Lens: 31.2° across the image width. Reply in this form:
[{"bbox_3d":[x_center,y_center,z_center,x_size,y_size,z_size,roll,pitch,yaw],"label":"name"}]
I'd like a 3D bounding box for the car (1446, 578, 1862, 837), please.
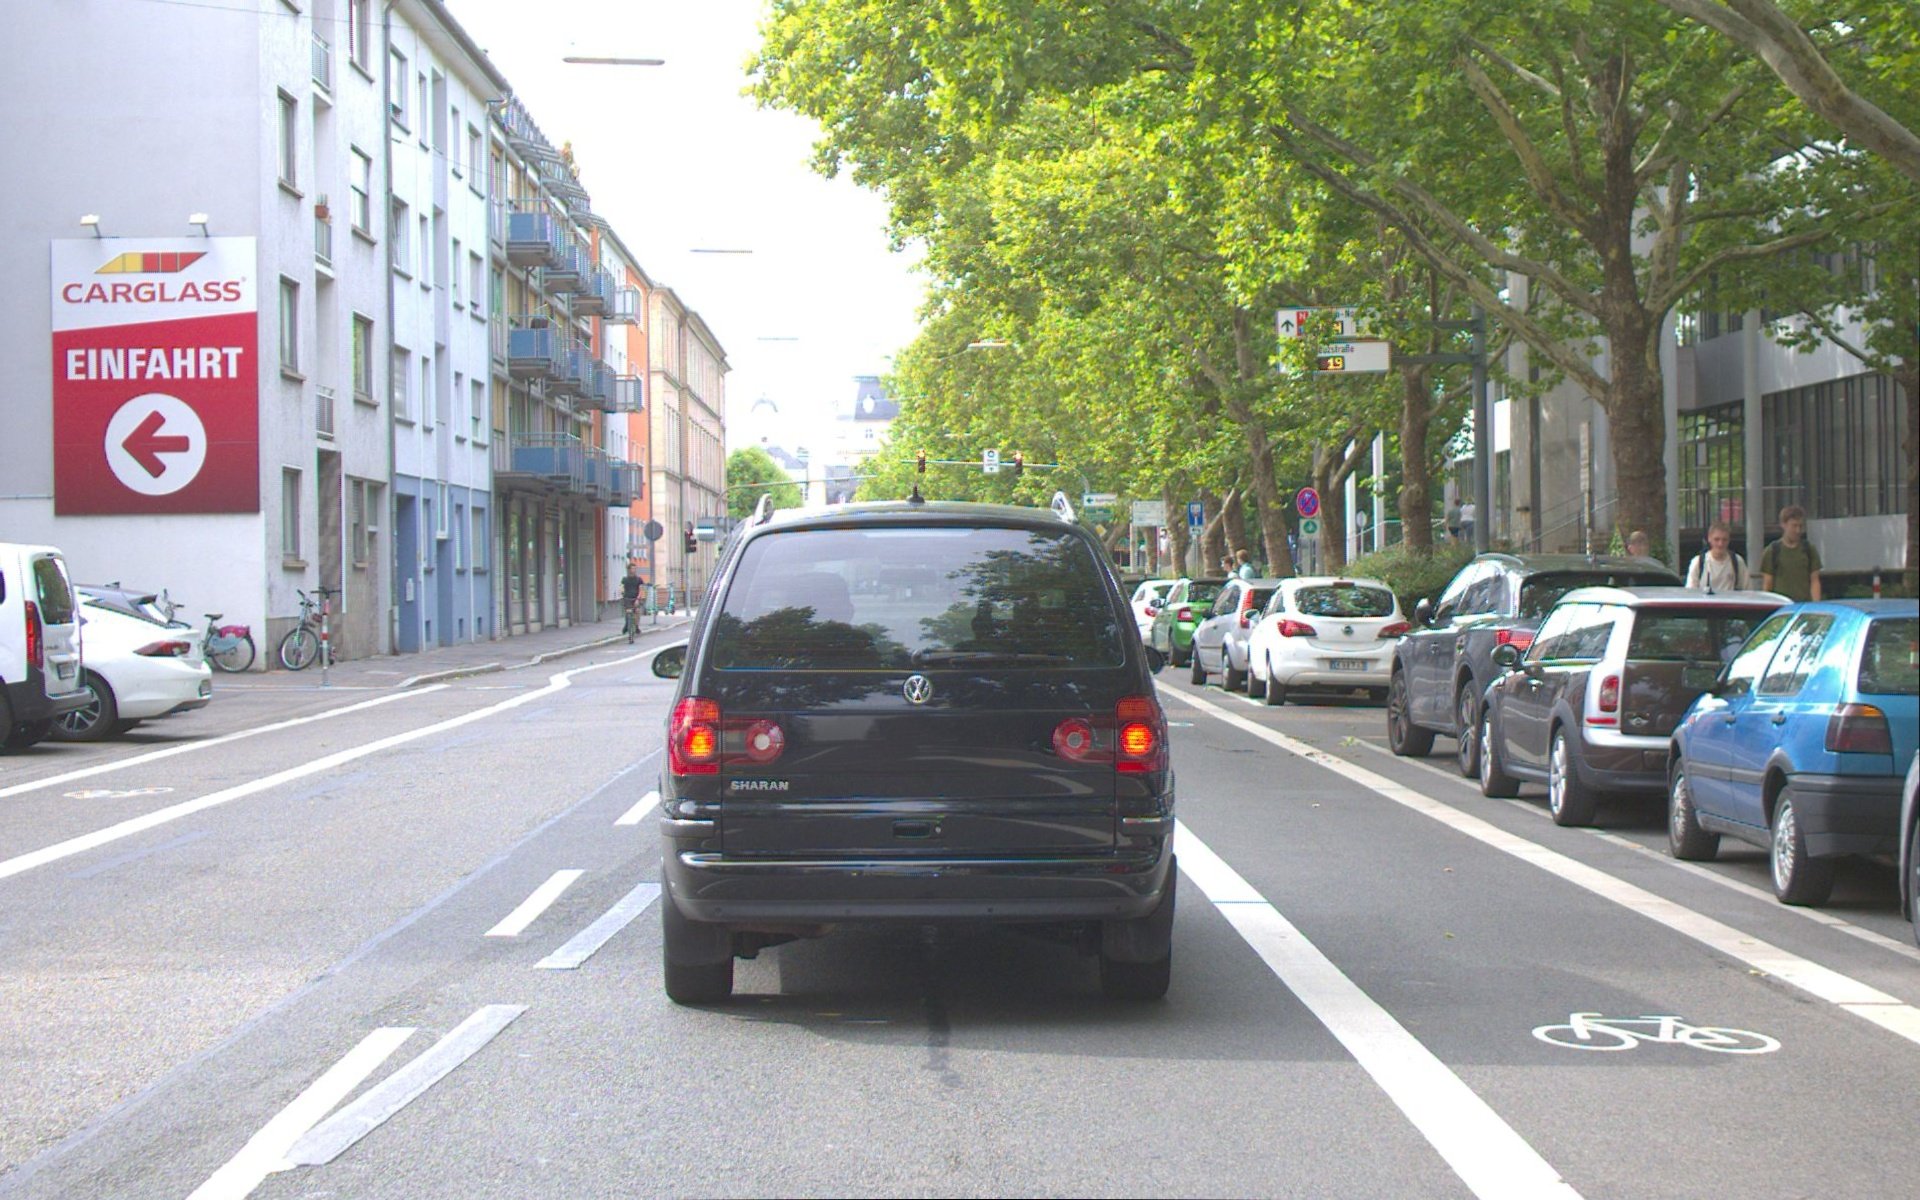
[{"bbox_3d":[4.254,0.602,21.724,1.629,1.465,4.318,0,0,-2],"label":"car"}]

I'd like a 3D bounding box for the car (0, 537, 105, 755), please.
[{"bbox_3d":[-9.954,0.348,30.438,4.307,1.863,1.824,1,0,-2],"label":"car"}]

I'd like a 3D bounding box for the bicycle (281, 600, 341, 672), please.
[{"bbox_3d":[-9.691,0.525,51.385,0.631,1.030,2.015,1,0,-4],"label":"bicycle"}]

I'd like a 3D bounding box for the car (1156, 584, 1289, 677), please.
[{"bbox_3d":[4.247,0.473,56.060,1.641,1.409,3.416,1,0,-4],"label":"car"}]

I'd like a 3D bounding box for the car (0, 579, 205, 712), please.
[{"bbox_3d":[-10.100,0.470,37.646,3.342,1.397,1.504,1,0,-2],"label":"car"}]

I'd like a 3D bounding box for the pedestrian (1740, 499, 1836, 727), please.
[{"bbox_3d":[7.274,0.101,30.224,0.643,1.968,0.692,1,2,0],"label":"pedestrian"}]

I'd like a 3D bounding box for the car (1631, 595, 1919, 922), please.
[{"bbox_3d":[4.520,0.708,16.987,1.622,1.381,4.000,2,1,1],"label":"car"}]

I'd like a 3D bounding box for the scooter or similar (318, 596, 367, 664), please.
[{"bbox_3d":[-9.759,0.482,54.373,0.631,1.030,2.015,1,-2,-7],"label":"scooter or similar"}]

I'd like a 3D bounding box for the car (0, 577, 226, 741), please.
[{"bbox_3d":[-8.847,0.536,32.822,3.342,1.492,1.596,1,0,-2],"label":"car"}]

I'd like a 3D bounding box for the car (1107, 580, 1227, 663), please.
[{"bbox_3d":[3.662,0.357,61.267,1.641,1.390,3.513,1,0,-4],"label":"car"}]

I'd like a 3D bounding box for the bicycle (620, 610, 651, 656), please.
[{"bbox_3d":[-7.713,0.785,81.765,0.631,1.030,2.015,0,-2,-3],"label":"bicycle"}]

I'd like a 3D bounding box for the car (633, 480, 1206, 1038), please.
[{"bbox_3d":[-0.242,0.497,12.762,1.812,1.760,3.738,0,0,-4],"label":"car"}]

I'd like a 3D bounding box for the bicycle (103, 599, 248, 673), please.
[{"bbox_3d":[-11.388,0.522,49.911,2.009,1.030,0.410,1,2,1],"label":"bicycle"}]

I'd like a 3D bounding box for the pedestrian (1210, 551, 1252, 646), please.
[{"bbox_3d":[5.208,-0.031,66.086,0.767,1.825,0.516,0,0,0],"label":"pedestrian"}]

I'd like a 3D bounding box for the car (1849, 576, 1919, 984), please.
[{"bbox_3d":[4.476,0.680,11.265,1.727,1.511,4.872,0,0,-2],"label":"car"}]

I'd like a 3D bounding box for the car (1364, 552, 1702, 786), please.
[{"bbox_3d":[4.381,0.474,26.938,1.668,1.635,4.504,2,0,-3],"label":"car"}]

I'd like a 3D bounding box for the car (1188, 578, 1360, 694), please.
[{"bbox_3d":[4.046,0.439,44.758,1.641,1.409,3.416,1,0,-4],"label":"car"}]

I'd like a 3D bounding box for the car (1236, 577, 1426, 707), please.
[{"bbox_3d":[4.287,0.451,40.297,1.675,1.389,4.461,1,0,0],"label":"car"}]

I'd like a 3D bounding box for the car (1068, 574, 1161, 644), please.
[{"bbox_3d":[3.416,0.181,76.336,1.641,1.482,3.513,0,1,-4],"label":"car"}]

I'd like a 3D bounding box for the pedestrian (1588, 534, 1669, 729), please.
[{"bbox_3d":[5.901,0.274,30.372,0.587,1.696,0.508,1,2,1],"label":"pedestrian"}]

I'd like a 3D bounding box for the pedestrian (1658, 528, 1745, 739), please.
[{"bbox_3d":[6.557,0.289,30.416,0.587,1.832,0.692,1,2,0],"label":"pedestrian"}]

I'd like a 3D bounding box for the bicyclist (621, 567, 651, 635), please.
[{"bbox_3d":[-7.729,0.021,82.044,0.653,1.606,0.656,0,-2,-3],"label":"bicyclist"}]
